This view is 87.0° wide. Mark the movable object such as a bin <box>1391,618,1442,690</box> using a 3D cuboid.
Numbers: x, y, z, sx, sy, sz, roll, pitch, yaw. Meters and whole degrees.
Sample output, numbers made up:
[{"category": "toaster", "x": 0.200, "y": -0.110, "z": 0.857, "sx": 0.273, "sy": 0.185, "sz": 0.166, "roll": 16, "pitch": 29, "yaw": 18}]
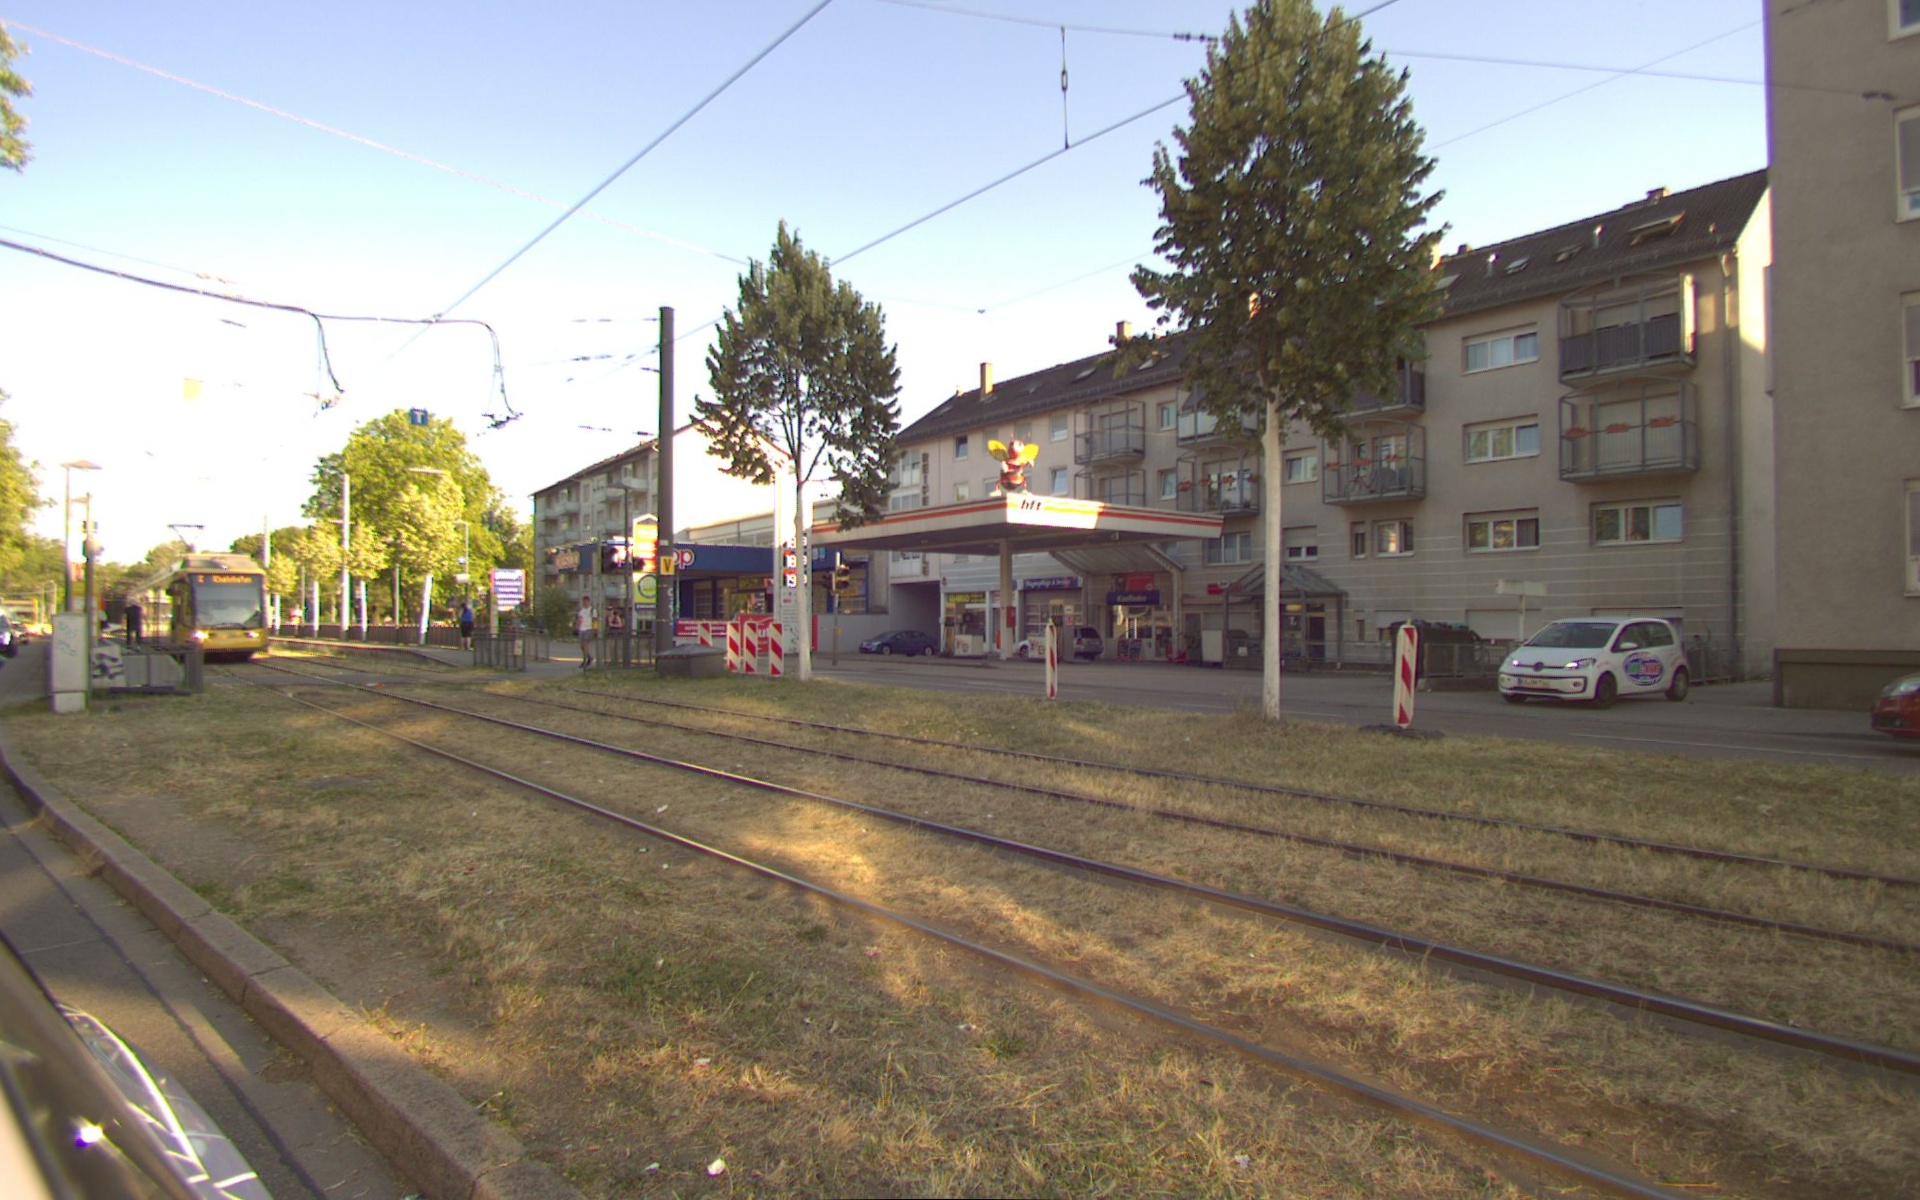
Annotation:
[{"category": "movable object such as a bin", "x": 9.270, "y": 1.082, "z": 20.546, "sx": 0.655, "sy": 1.411, "sz": 0.749, "roll": 2, "pitch": -2, "yaw": -43}]

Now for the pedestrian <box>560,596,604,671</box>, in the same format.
[{"category": "pedestrian", "x": -10.036, "y": 0.871, "z": 26.868, "sx": 0.847, "sy": 1.947, "sz": 0.756, "roll": 1, "pitch": -2, "yaw": -44}]

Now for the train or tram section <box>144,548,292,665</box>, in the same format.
[{"category": "train or tram section", "x": -26.092, "y": 0.288, "z": 35.325, "sx": 2.999, "sy": 3.544, "sz": 10.108, "roll": 3, "pitch": -2, "yaw": -42}]

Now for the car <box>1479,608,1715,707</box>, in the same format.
[{"category": "car", "x": 10.924, "y": 0.948, "z": 17.341, "sx": 3.763, "sy": 1.523, "sz": 1.823, "roll": 2, "pitch": -2, "yaw": -29}]

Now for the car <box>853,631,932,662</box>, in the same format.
[{"category": "car", "x": -3.477, "y": 2.374, "z": 52.268, "sx": 3.746, "sy": 1.535, "sz": 1.821, "roll": 1, "pitch": -2, "yaw": -39}]

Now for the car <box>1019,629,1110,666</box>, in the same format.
[{"category": "car", "x": 4.538, "y": 2.031, "z": 44.420, "sx": 1.789, "sy": 1.535, "sz": 3.835, "roll": 1, "pitch": -2, "yaw": -40}]

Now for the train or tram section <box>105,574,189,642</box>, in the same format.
[{"category": "train or tram section", "x": -46.499, "y": 0.515, "z": 57.748, "sx": 2.999, "sy": 3.544, "sz": 10.108, "roll": 3, "pitch": -2, "yaw": -42}]

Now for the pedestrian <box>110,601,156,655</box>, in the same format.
[{"category": "pedestrian", "x": -24.574, "y": 0.809, "z": 30.073, "sx": 0.789, "sy": 1.562, "sz": 0.906, "roll": -1, "pitch": -1, "yaw": 40}]

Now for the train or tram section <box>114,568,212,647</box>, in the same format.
[{"category": "train or tram section", "x": -39.722, "y": 0.439, "z": 50.286, "sx": 2.999, "sy": 3.544, "sz": 10.108, "roll": 3, "pitch": -2, "yaw": -42}]

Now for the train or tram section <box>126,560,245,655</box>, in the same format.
[{"category": "train or tram section", "x": -32.912, "y": 0.367, "z": 42.796, "sx": 2.999, "sy": 3.544, "sz": 10.108, "roll": 3, "pitch": -2, "yaw": -42}]

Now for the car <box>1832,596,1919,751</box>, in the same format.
[{"category": "car", "x": 11.618, "y": 0.762, "z": 9.569, "sx": 1.790, "sy": 1.572, "sz": 4.940, "roll": 2, "pitch": -2, "yaw": -42}]

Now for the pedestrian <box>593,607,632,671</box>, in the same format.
[{"category": "pedestrian", "x": -9.745, "y": 1.073, "z": 28.388, "sx": 0.744, "sy": 1.760, "sz": 0.861, "roll": 2, "pitch": -2, "yaw": -45}]

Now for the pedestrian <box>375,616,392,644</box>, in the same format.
[{"category": "pedestrian", "x": -39.593, "y": 2.061, "z": 69.526, "sx": 0.744, "sy": 1.896, "sz": 1.001, "roll": -3, "pitch": 1, "yaw": -43}]

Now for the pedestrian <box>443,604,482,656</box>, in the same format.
[{"category": "pedestrian", "x": -16.832, "y": 1.003, "z": 34.219, "sx": 0.923, "sy": 1.666, "sz": 0.927, "roll": -2, "pitch": 0, "yaw": -42}]
